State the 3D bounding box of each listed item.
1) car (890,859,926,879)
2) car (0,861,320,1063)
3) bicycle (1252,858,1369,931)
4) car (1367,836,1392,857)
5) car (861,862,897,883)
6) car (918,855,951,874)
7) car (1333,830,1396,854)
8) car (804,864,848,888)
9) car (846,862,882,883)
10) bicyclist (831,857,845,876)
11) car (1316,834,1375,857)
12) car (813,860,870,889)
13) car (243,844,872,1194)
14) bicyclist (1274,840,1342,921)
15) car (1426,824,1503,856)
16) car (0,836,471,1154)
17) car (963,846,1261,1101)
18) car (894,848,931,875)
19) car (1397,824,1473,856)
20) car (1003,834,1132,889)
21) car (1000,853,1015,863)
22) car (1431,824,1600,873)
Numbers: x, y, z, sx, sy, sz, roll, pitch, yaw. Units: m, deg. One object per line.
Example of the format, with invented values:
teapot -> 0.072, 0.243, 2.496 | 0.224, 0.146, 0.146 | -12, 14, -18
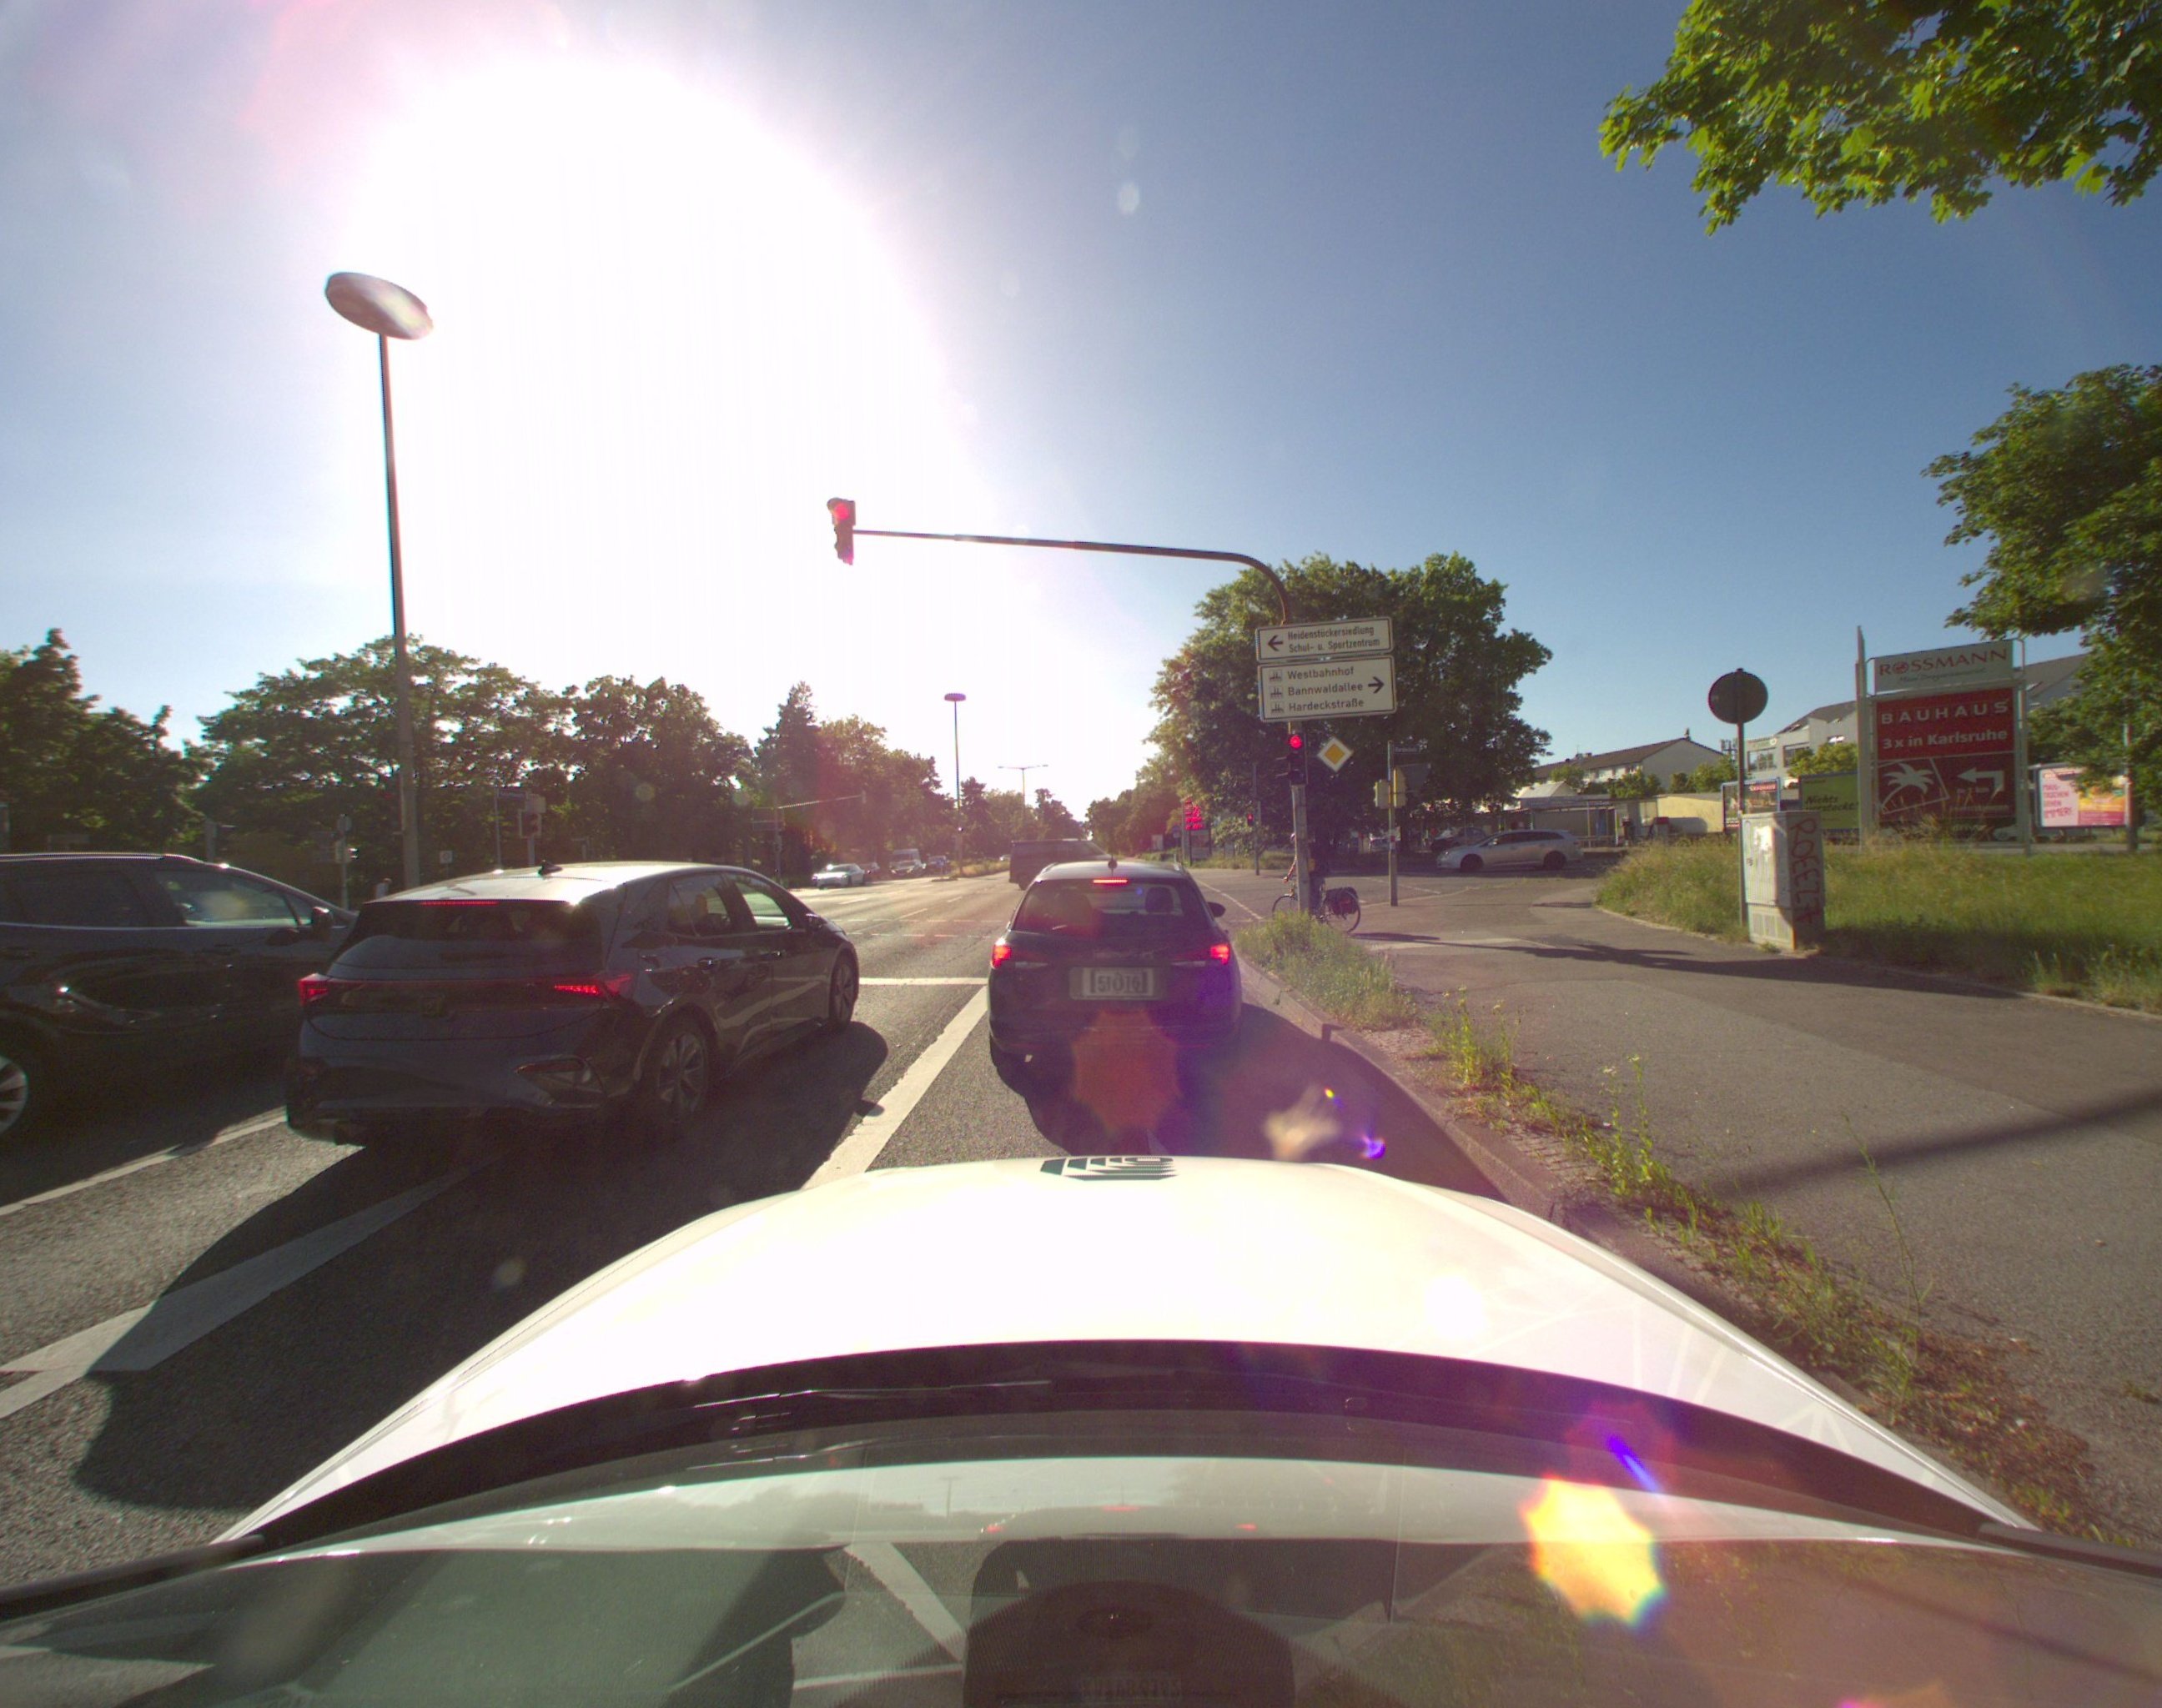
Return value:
car -> -13.768, 1.192, 65.187 | 1.680, 1.433, 4.617 | -3, 0, 2
car -> -10.222, 0.986, 7.918 | 1.824, 1.702, 3.999 | -3, 0, 0
bicycle -> 3.733, 0.684, 13.370 | 0.541, 1.097, 1.755 | -3, -2, -42
car -> 25.409, -0.663, 69.365 | 1.726, 1.680, 4.018 | -3, 0, 17
car -> -15.882, 1.434, 64.264 | 1.635, 1.456, 4.223 | -3, 0, 2
car -> -13.644, 0.915, 76.004 | 1.986, 1.601, 4.617 | -3, 0, 2
car -> 19.662, -0.827, 56.431 | 3.903, 1.517, 1.733 | -3, 0, -21
car -> -17.808, 1.519, 57.014 | 1.680, 1.509, 4.005 | -3, 0, 2
car -> -17.580, 1.460, 66.118 | 1.680, 1.509, 4.005 | -3, 0, 2
bicyclist -> -21.787, 1.100, 73.041 | 0.874, 1.648, 1.198 | -3, 0, -4
car -> 19.327, -0.620, 59.523 | 3.903, 1.517, 1.733 | -3, 0, -21
car -> -14.337, 1.201, 48.940 | 1.881, 1.524, 4.506 | -3, 0, 2
car -> -2.958, 0.770, 5.853 | 1.678, 1.580, 4.208 | -1, 0, 2
bicyclist -> 3.717, 0.438, 13.371 | 0.541, 1.277, 0.819 | -3, -2, -42
car -> 22.377, -0.819, 47.524 | 4.002, 1.680, 1.733 | -3, 0, -21
car -> -6.619, 0.786, 5.516 | 1.798, 1.689, 4.002 | -3, 0, 2
car -> 0.250, 0.723, 6.962 | 1.750, 1.495, 4.208 | -1, 0, 2
car -> -16.702, 0.745, 81.135 | 2.092, 2.492, 6.006 | -3, 0, 2
car -> 21.465, -0.836, 49.399 | 4.003, 1.750, 1.985 | -3, 0, -22
car -> -0.586, 0.324, 32.689 | 4.950, 1.992, 1.930 | -3, 0, 37
car -> -12.013, 0.638, 133.229 | 1.769, 1.463, 4.166 | -3, 0, 2
car -> 15.424, -0.191, 29.186 | 4.969, 1.486, 2.007 | -2, 0, 13
